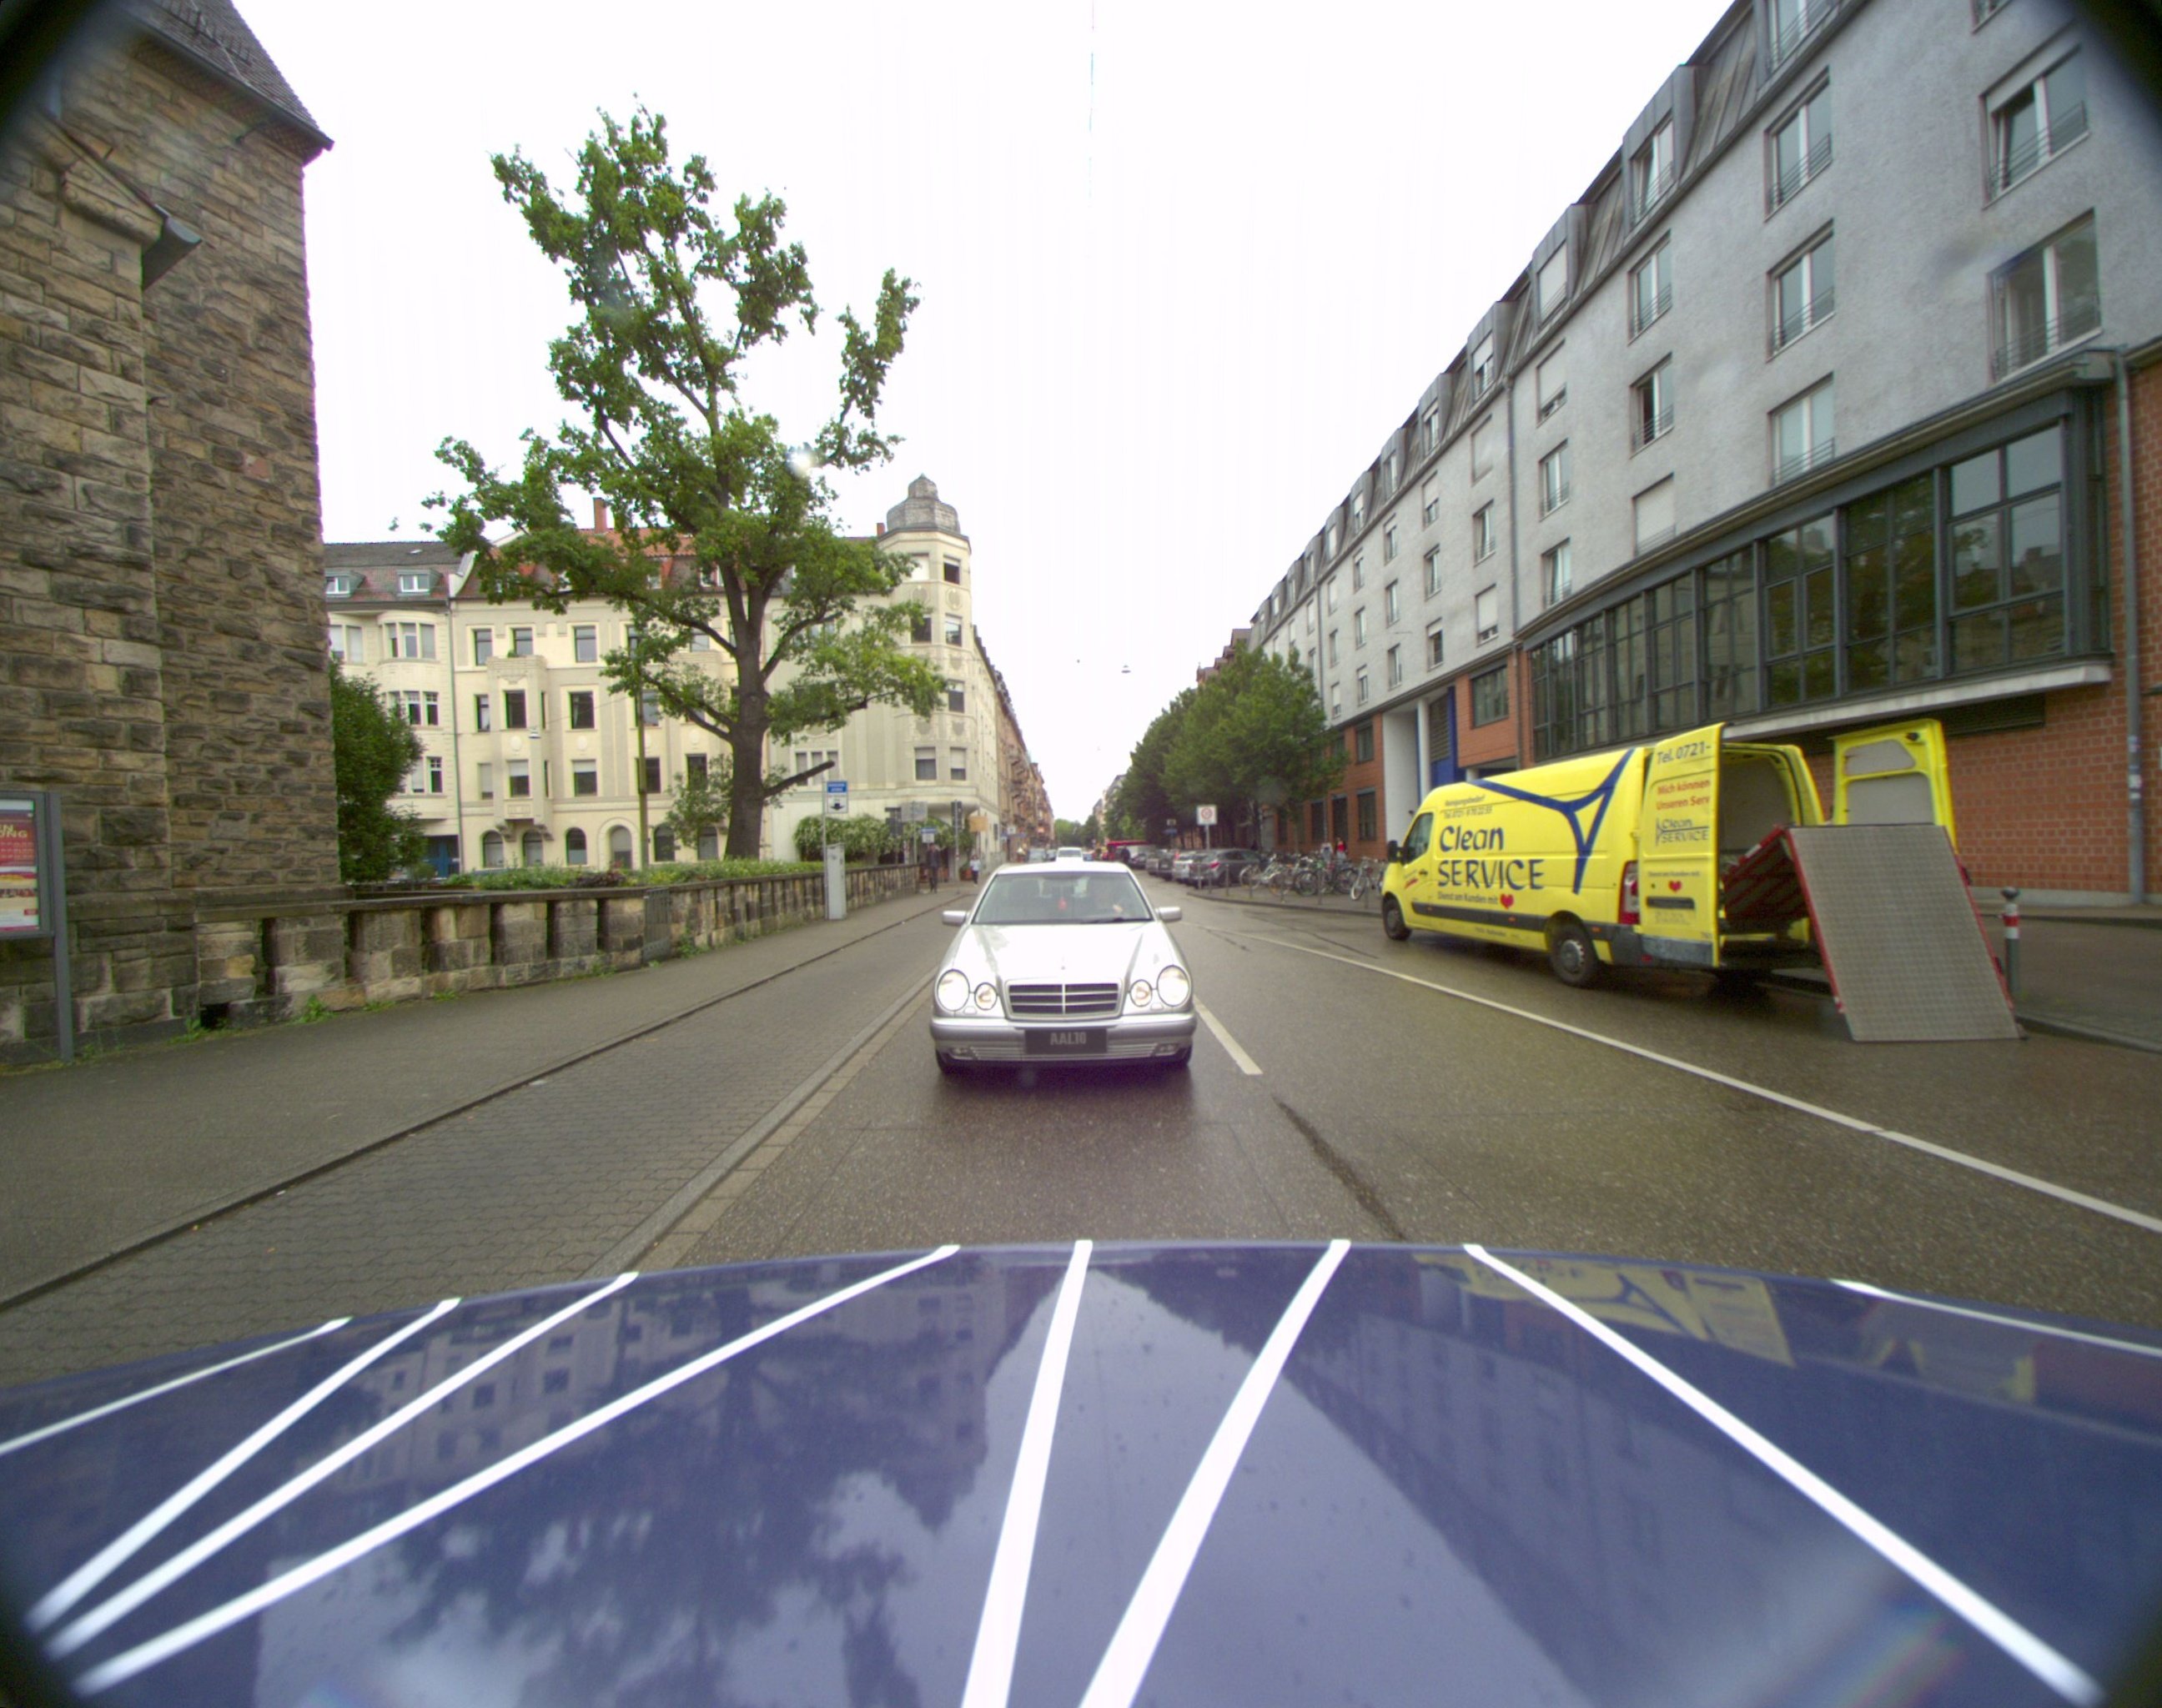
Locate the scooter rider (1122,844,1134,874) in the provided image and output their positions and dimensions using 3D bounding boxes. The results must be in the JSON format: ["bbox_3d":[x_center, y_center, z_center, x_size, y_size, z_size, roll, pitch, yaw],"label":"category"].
[{"bbox_3d":[3.001,0.316,48.871,0.712,1.924,0.503,-1,1,-2],"label":"scooter rider"}]

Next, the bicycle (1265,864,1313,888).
[{"bbox_3d":[7.029,0.735,25.676,1.473,0.717,0.497,-3,1,3],"label":"bicycle"}]

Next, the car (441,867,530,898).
[{"bbox_3d":[-29.405,1.397,37.584,3.270,1.401,1.448,-1,1,3],"label":"car"}]

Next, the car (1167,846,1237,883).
[{"bbox_3d":[5.584,0.473,34.882,3.084,1.494,1.449,-3,1,-40],"label":"car"}]

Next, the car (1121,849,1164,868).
[{"bbox_3d":[5.156,0.343,63.215,1.685,1.482,3.799,0,1,40],"label":"car"}]

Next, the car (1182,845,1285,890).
[{"bbox_3d":[5.903,0.489,29.347,3.629,1.494,1.736,-3,2,-31],"label":"car"}]

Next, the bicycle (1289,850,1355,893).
[{"bbox_3d":[7.245,0.518,22.839,1.815,1.187,0.519,-3,1,-13],"label":"bicycle"}]

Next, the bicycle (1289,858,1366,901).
[{"bbox_3d":[6.701,0.687,20.703,1.858,1.067,0.609,-3,1,5],"label":"bicycle"}]

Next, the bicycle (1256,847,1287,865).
[{"bbox_3d":[10.538,0.117,42.098,1.590,0.979,0.465,-2,1,-8],"label":"bicycle"}]

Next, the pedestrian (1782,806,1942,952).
[{"bbox_3d":[9.927,0.299,9.715,0.787,1.718,1.172,-3,1,-2],"label":"pedestrian"}]

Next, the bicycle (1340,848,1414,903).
[{"bbox_3d":[7.534,0.523,19.322,1.922,1.209,0.768,-6,4,-35],"label":"bicycle"}]

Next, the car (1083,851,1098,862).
[{"bbox_3d":[1.218,0.300,98.429,1.651,1.301,3.311,-1,0,-3],"label":"car"}]

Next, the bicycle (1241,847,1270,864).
[{"bbox_3d":[10.183,0.082,44.372,1.590,0.979,0.465,-2,1,-8],"label":"bicycle"}]

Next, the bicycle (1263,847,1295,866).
[{"bbox_3d":[10.656,0.136,40.933,1.590,0.979,0.445,-2,1,-8],"label":"bicycle"}]

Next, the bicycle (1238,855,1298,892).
[{"bbox_3d":[6.206,0.642,25.247,1.812,1.099,0.472,-3,1,-5],"label":"bicycle"}]

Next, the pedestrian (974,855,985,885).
[{"bbox_3d":[-5.096,0.807,38.035,0.482,1.452,0.392,-1,1,-1],"label":"pedestrian"}]

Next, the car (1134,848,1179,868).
[{"bbox_3d":[6.064,0.317,60.662,1.685,1.482,3.799,0,1,40],"label":"car"}]

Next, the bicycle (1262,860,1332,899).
[{"bbox_3d":[6.121,0.716,21.540,1.800,0.987,0.520,-3,1,-2],"label":"bicycle"}]

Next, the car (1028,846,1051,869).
[{"bbox_3d":[-3.360,0.287,61.790,1.726,1.794,3.462,-1,1,0],"label":"car"}]

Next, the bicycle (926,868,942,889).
[{"bbox_3d":[-7.331,1.193,37.954,0.390,0.888,2.023,-1,3,0],"label":"bicycle"}]

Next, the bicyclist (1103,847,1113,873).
[{"bbox_3d":[1.675,0.365,46.929,0.536,1.521,1.135,-2,1,3],"label":"bicyclist"}]

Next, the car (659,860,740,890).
[{"bbox_3d":[-19.095,1.024,38.108,3.270,1.401,1.448,-1,1,3],"label":"car"}]

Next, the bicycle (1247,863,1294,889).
[{"bbox_3d":[6.546,0.744,26.303,1.473,0.800,0.497,-3,1,3],"label":"bicycle"}]

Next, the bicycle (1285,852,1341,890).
[{"bbox_3d":[7.364,0.538,24.087,1.611,1.099,0.519,-3,1,-13],"label":"bicycle"}]

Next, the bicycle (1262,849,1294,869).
[{"bbox_3d":[10.447,0.265,40.314,1.590,0.979,0.445,-2,1,-8],"label":"bicycle"}]

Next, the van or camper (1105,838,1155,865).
[{"bbox_3d":[4.970,-0.250,76.929,4.604,2.597,1.999,-1,1,-27],"label":"van or camper"}]

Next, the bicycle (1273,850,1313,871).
[{"bbox_3d":[10.584,0.311,37.926,1.851,0.979,0.445,-2,1,-8],"label":"bicycle"}]

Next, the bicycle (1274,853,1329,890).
[{"bbox_3d":[7.177,0.570,24.731,1.610,1.099,0.520,-3,1,-5],"label":"bicycle"}]

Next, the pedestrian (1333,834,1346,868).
[{"bbox_3d":[12.423,-0.129,36.489,0.514,1.601,0.426,-1,1,12],"label":"pedestrian"}]

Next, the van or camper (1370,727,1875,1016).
[{"bbox_3d":[6.079,0.135,9.886,2.202,2.596,5.940,-1,0,-2],"label":"van or camper"}]

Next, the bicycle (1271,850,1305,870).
[{"bbox_3d":[10.456,0.305,38.399,1.590,0.979,0.445,-2,1,-8],"label":"bicycle"}]

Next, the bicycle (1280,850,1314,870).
[{"bbox_3d":[11.079,0.283,38.944,1.590,0.979,0.445,-2,1,-8],"label":"bicycle"}]

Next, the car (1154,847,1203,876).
[{"bbox_3d":[5.291,0.413,40.998,2.506,1.442,1.191,-3,1,-40],"label":"car"}]

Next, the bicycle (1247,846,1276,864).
[{"bbox_3d":[10.768,0.052,45.268,1.590,0.979,0.465,-2,1,-8],"label":"bicycle"}]

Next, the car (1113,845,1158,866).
[{"bbox_3d":[5.149,0.108,70.957,4.338,1.822,1.571,-1,1,-41],"label":"car"}]

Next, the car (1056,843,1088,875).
[{"bbox_3d":[-0.552,0.296,50.048,1.998,2.002,4.000,-2,1,1],"label":"car"}]

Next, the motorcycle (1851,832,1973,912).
[{"bbox_3d":[13.228,0.253,12.158,0.524,1.174,1.760,-3,1,19],"label":"motorcycle"}]

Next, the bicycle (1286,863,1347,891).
[{"bbox_3d":[7.259,0.708,23.430,1.773,0.757,0.456,-3,1,-13],"label":"bicycle"}]

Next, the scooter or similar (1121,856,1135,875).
[{"bbox_3d":[3.014,0.739,48.868,0.702,1.158,1.385,-1,1,-2],"label":"scooter or similar"}]

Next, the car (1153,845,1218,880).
[{"bbox_3d":[5.221,0.425,37.766,3.084,1.543,1.449,-3,1,-40],"label":"car"}]

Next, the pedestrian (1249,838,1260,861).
[{"bbox_3d":[11.823,-0.304,51.796,0.571,1.588,0.533,-2,1,1],"label":"pedestrian"}]

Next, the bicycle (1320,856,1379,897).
[{"bbox_3d":[7.481,0.614,21.208,1.462,1.058,0.418,-3,1,4],"label":"bicycle"}]

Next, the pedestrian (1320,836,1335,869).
[{"bbox_3d":[12.059,-0.089,37.113,0.605,1.601,0.373,-2,1,6],"label":"pedestrian"}]

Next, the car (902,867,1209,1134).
[{"bbox_3d":[-0.149,0.895,6.469,1.764,1.420,3.999,-2,1,0],"label":"car"}]

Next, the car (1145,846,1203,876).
[{"bbox_3d":[5.338,0.386,43.506,2.985,1.546,1.369,-3,1,-29],"label":"car"}]

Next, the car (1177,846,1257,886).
[{"bbox_3d":[5.776,0.485,32.274,3.083,1.494,1.449,-3,1,-31],"label":"car"}]

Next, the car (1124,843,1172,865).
[{"bbox_3d":[5.941,0.012,67.446,4.338,1.884,1.685,-1,1,-41],"label":"car"}]

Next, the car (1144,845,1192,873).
[{"bbox_3d":[5.306,0.312,46.263,2.685,1.546,1.148,-3,1,-29],"label":"car"}]

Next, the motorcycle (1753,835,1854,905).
[{"bbox_3d":[13.063,0.253,13.808,0.524,1.174,2.006,-3,1,19],"label":"motorcycle"}]

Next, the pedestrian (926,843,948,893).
[{"bbox_3d":[-5.460,0.540,28.845,0.646,1.862,0.693,-1,1,0],"label":"pedestrian"}]

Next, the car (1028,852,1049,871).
[{"bbox_3d":[-3.155,0.539,56.742,1.447,1.348,3.204,-1,0,0],"label":"car"}]

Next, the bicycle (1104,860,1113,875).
[{"bbox_3d":[1.702,0.845,46.954,0.536,0.879,1.781,-2,1,3],"label":"bicycle"}]

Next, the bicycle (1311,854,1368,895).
[{"bbox_3d":[7.464,0.592,21.983,1.461,1.096,0.462,-3,1,14],"label":"bicycle"}]
